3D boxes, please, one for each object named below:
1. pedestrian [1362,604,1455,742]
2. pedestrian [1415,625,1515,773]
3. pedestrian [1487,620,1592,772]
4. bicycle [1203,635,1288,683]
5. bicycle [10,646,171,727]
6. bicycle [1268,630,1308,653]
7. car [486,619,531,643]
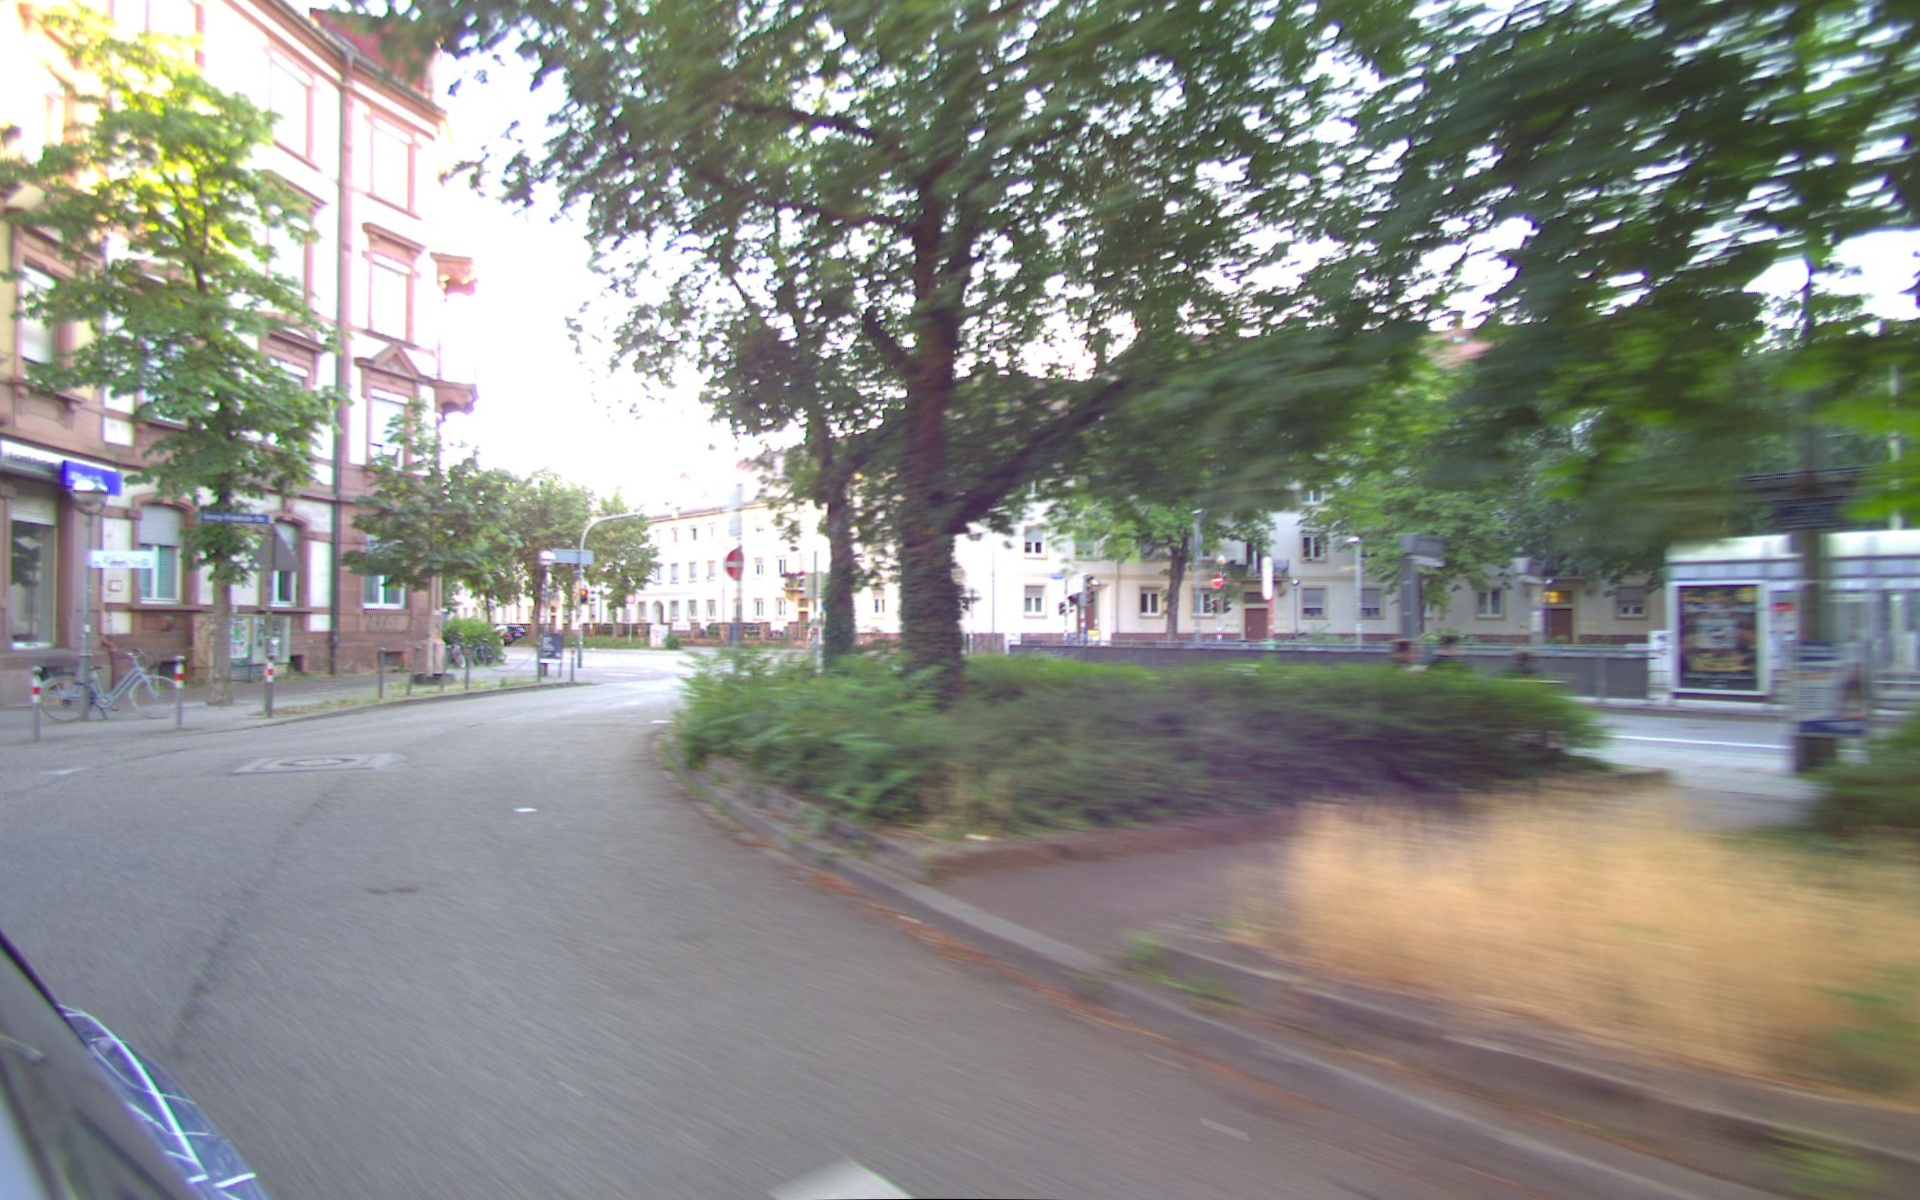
[{"bbox_3d":[4.865,0.770,10.991,0.644,1.442,0.620,0,-2,-23],"label":"pedestrian"},{"bbox_3d":[5.164,0.984,10.370,0.644,1.442,0.620,0,-2,-23],"label":"pedestrian"},{"bbox_3d":[5.779,0.928,10.105,0.644,1.442,0.620,0,-2,-23],"label":"pedestrian"},{"bbox_3d":[6.557,1.342,23.300,1.856,1.059,0.538,-2,-2,44],"label":"bicycle"},{"bbox_3d":[-12.867,1.256,15.046,1.769,1.091,0.562,1,-1,-37],"label":"bicycle"},{"bbox_3d":[16.947,2.161,52.332,1.898,1.160,0.684,-1,-2,10],"label":"bicycle"},{"bbox_3d":[-35.737,2.463,80.119,4.001,1.864,1.882,-1,-2,44],"label":"car"}]
